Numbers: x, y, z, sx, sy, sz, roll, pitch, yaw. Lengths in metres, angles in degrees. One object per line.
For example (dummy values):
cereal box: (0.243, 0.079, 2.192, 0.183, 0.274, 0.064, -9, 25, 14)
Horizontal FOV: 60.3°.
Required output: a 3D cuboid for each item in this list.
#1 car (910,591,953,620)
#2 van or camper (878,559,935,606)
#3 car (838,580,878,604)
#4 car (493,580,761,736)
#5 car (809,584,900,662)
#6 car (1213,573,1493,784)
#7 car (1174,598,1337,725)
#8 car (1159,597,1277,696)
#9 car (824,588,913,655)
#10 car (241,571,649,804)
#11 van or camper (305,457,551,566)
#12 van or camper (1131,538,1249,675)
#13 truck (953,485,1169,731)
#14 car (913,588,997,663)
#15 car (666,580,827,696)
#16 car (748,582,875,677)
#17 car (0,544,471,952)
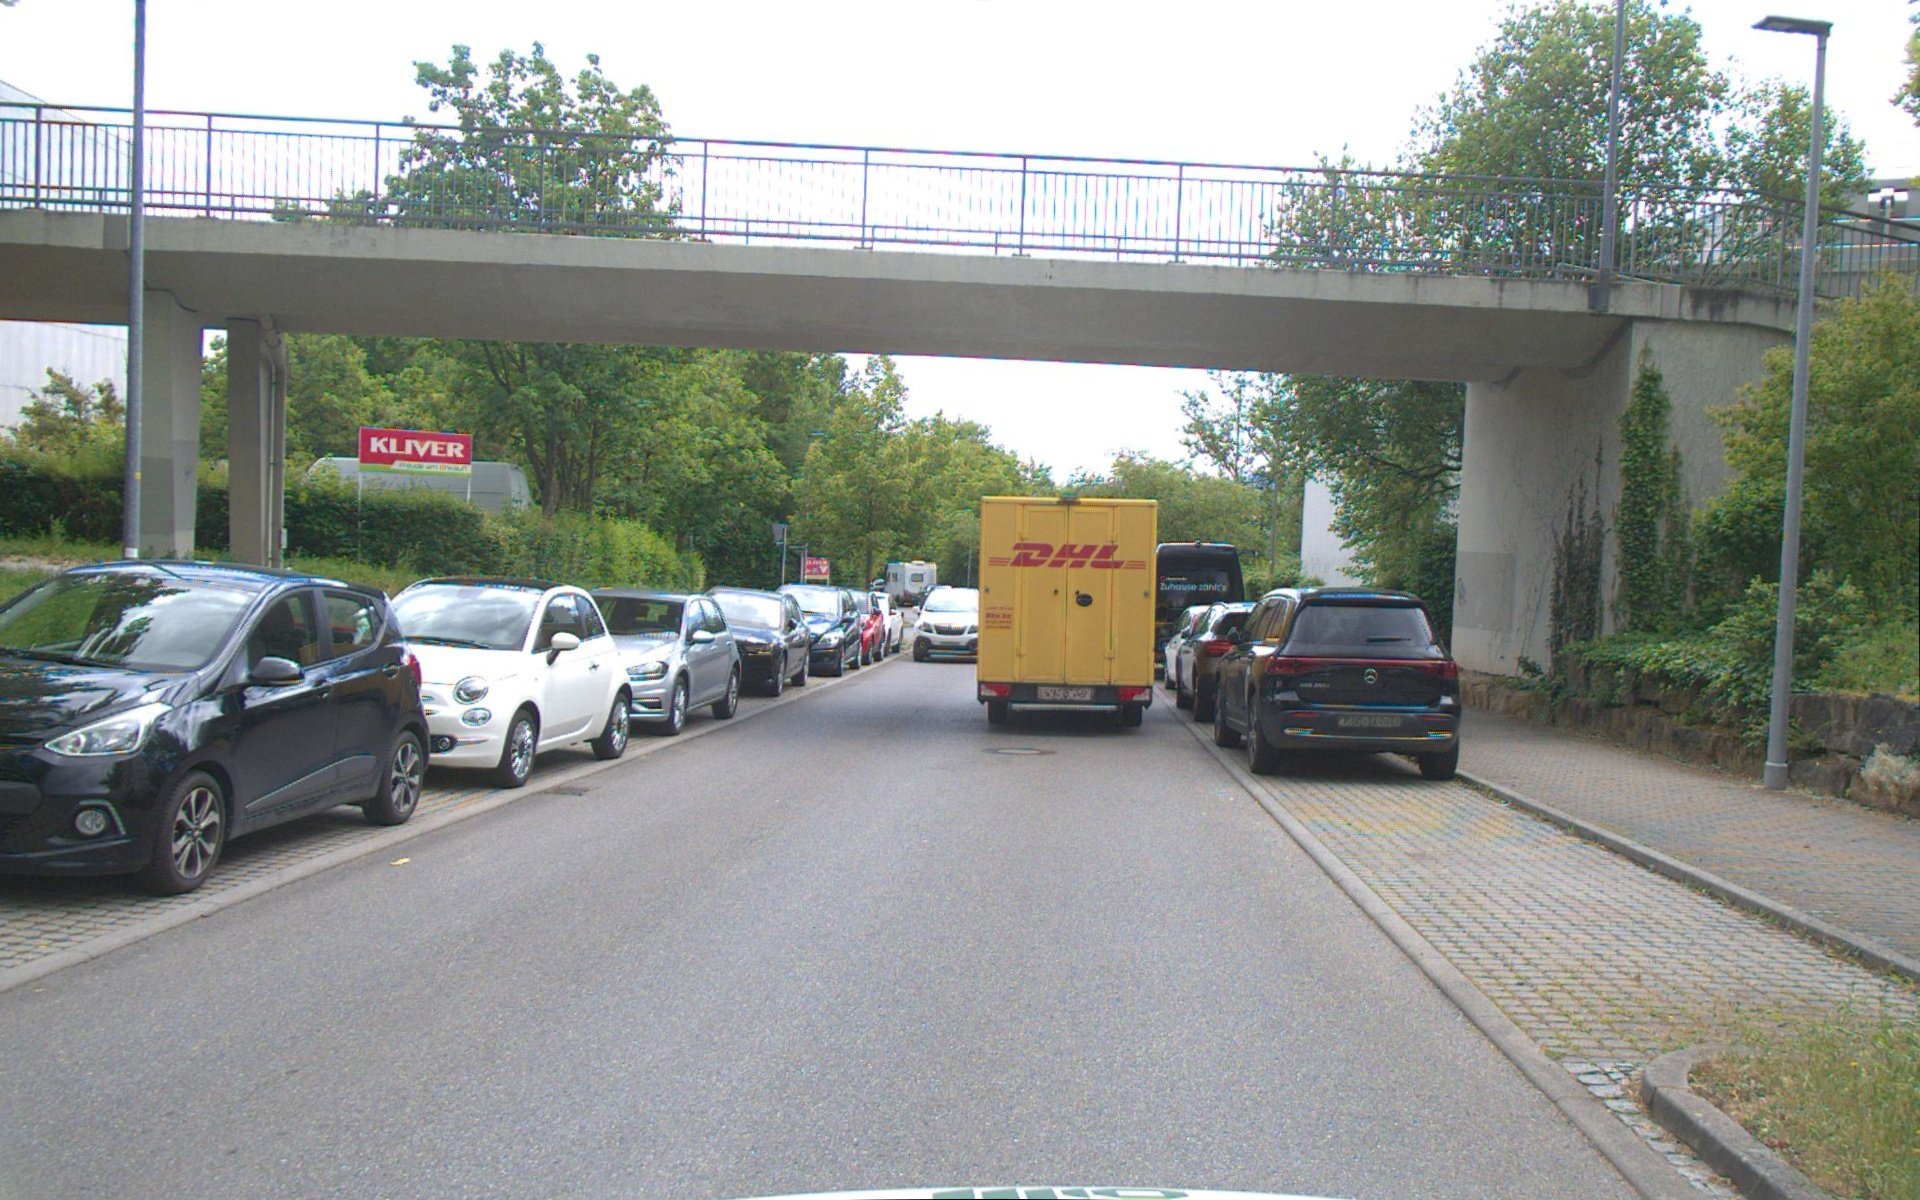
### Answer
car: (-1.798, 0.335, 103.273, 1.812, 1.556, 3.987, 3, 2, -13)
van or camper: (-3.599, -1.194, 110.045, 2.289, 2.922, 5.232, 2, 1, -19)
car: (-7.547, -0.580, 122.134, 1.818, 1.556, 3.975, 2, 2, -22)
car: (-3.547, 0.574, 18.409, 1.845, 1.452, 4.002, 3, 0, 4)
car: (-2.248, 0.481, 35.716, 1.496, 1.532, 2.714, 3, 0, 5)
car: (3.601, 0.665, 15.938, 1.776, 1.707, 4.371, 1, 0, 2)
car: (3.922, 0.757, 22.520, 1.664, 1.523, 4.120, 2, 0, 3)
car: (4.290, 0.734, 27.850, 1.530, 1.522, 3.332, 1, 0, 2)
car: (-2.179, 0.492, 40.282, 1.639, 1.461, 3.971, 3, 0, 4)
car: (-3.904, 0.592, 13.209, 1.845, 1.485, 3.548, 4, 1, 4)
van or camper: (-11.799, -1.941, 36.941, 4.756, 2.122, 2.000, 3, 1, -2)
van or camper: (4.603, 0.136, 33.768, 1.952, 2.567, 5.473, 0, 0, 3)
truck: (1.295, 0.073, 22.090, 2.415, 2.749, 6.827, 1, 0, 3)
car: (-0.075, 0.556, 38.914, 1.711, 1.639, 4.054, 1, 0, 3)
car: (-3.187, 0.521, 25.539, 1.846, 1.535, 4.452, 3, 0, 0)
car: (-2.741, 0.519, 31.310, 1.845, 1.586, 3.839, 3, 0, 2)
car: (-4.138, 0.542, 8.714, 1.750, 1.492, 4.001, 6, 2, 1)
